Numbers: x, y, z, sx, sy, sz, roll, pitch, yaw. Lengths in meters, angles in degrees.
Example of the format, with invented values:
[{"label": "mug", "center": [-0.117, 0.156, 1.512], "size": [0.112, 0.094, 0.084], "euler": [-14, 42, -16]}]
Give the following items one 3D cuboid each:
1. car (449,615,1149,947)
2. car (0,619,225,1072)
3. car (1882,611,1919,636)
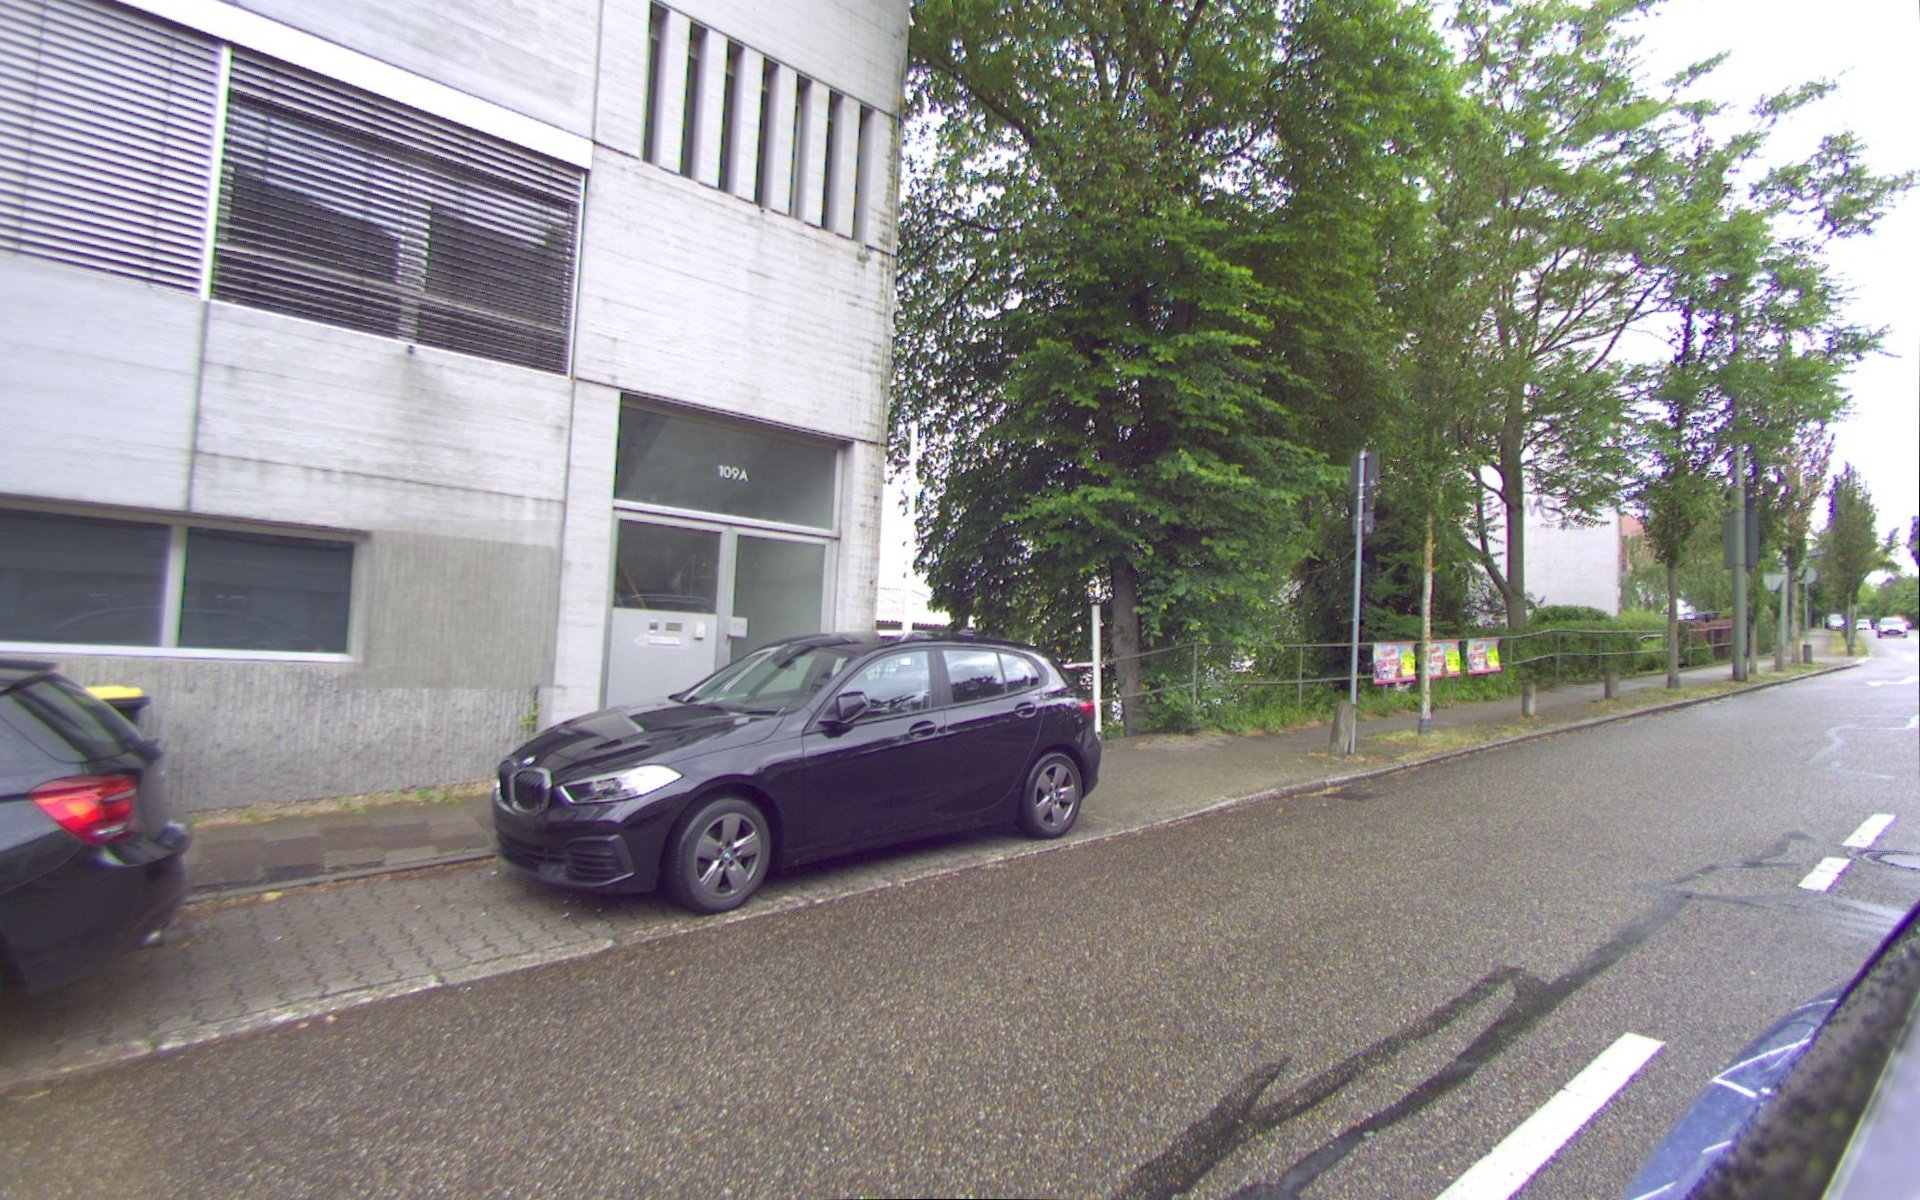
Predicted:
[{"label": "car", "center": [-0.846, 0.871, 6.923], "size": [4.367, 1.453, 1.996], "euler": [0, 1, -43]}, {"label": "car", "center": [-4.911, 0.835, 3.165], "size": [4.173, 1.466, 1.753], "euler": [0, 0, -38]}, {"label": "car", "center": [71.925, 1.787, 77.401], "size": [1.884, 1.741, 4.177], "euler": [2, 2, 40]}]
